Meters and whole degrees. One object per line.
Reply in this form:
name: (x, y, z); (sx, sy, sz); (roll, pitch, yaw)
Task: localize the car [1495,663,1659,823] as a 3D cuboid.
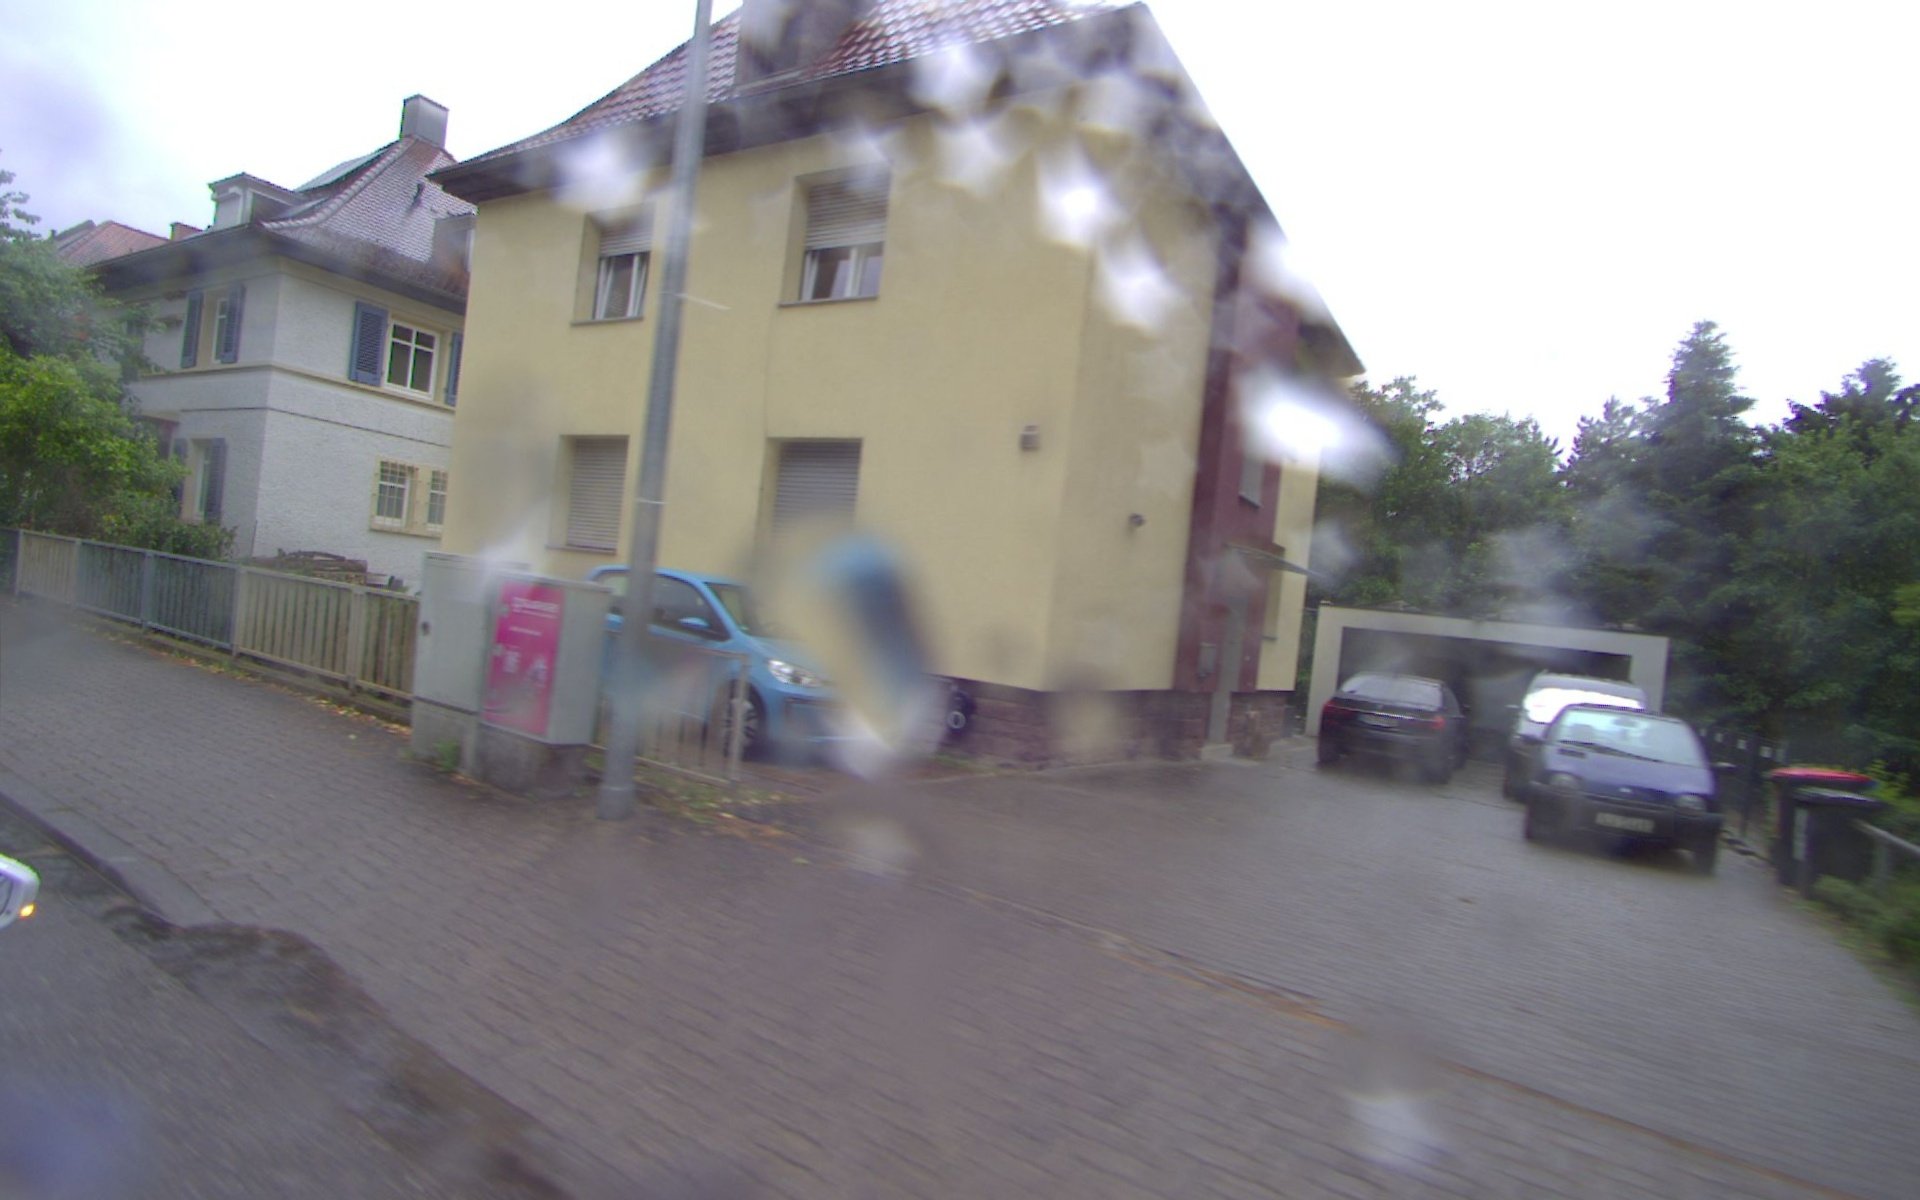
car: (9.128, 1.981, 14.950); (1.647, 1.817, 4.348); (6, 0, 32)

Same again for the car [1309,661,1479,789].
car: (6.888, 1.907, 15.776); (1.817, 1.527, 3.519); (7, -1, 32)

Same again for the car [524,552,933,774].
car: (-2.201, 0.510, 9.302); (3.470, 1.488, 1.671); (6, -1, 35)

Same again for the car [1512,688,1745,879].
car: (6.943, 1.793, 10.645); (1.647, 1.463, 3.336); (6, -2, 32)
